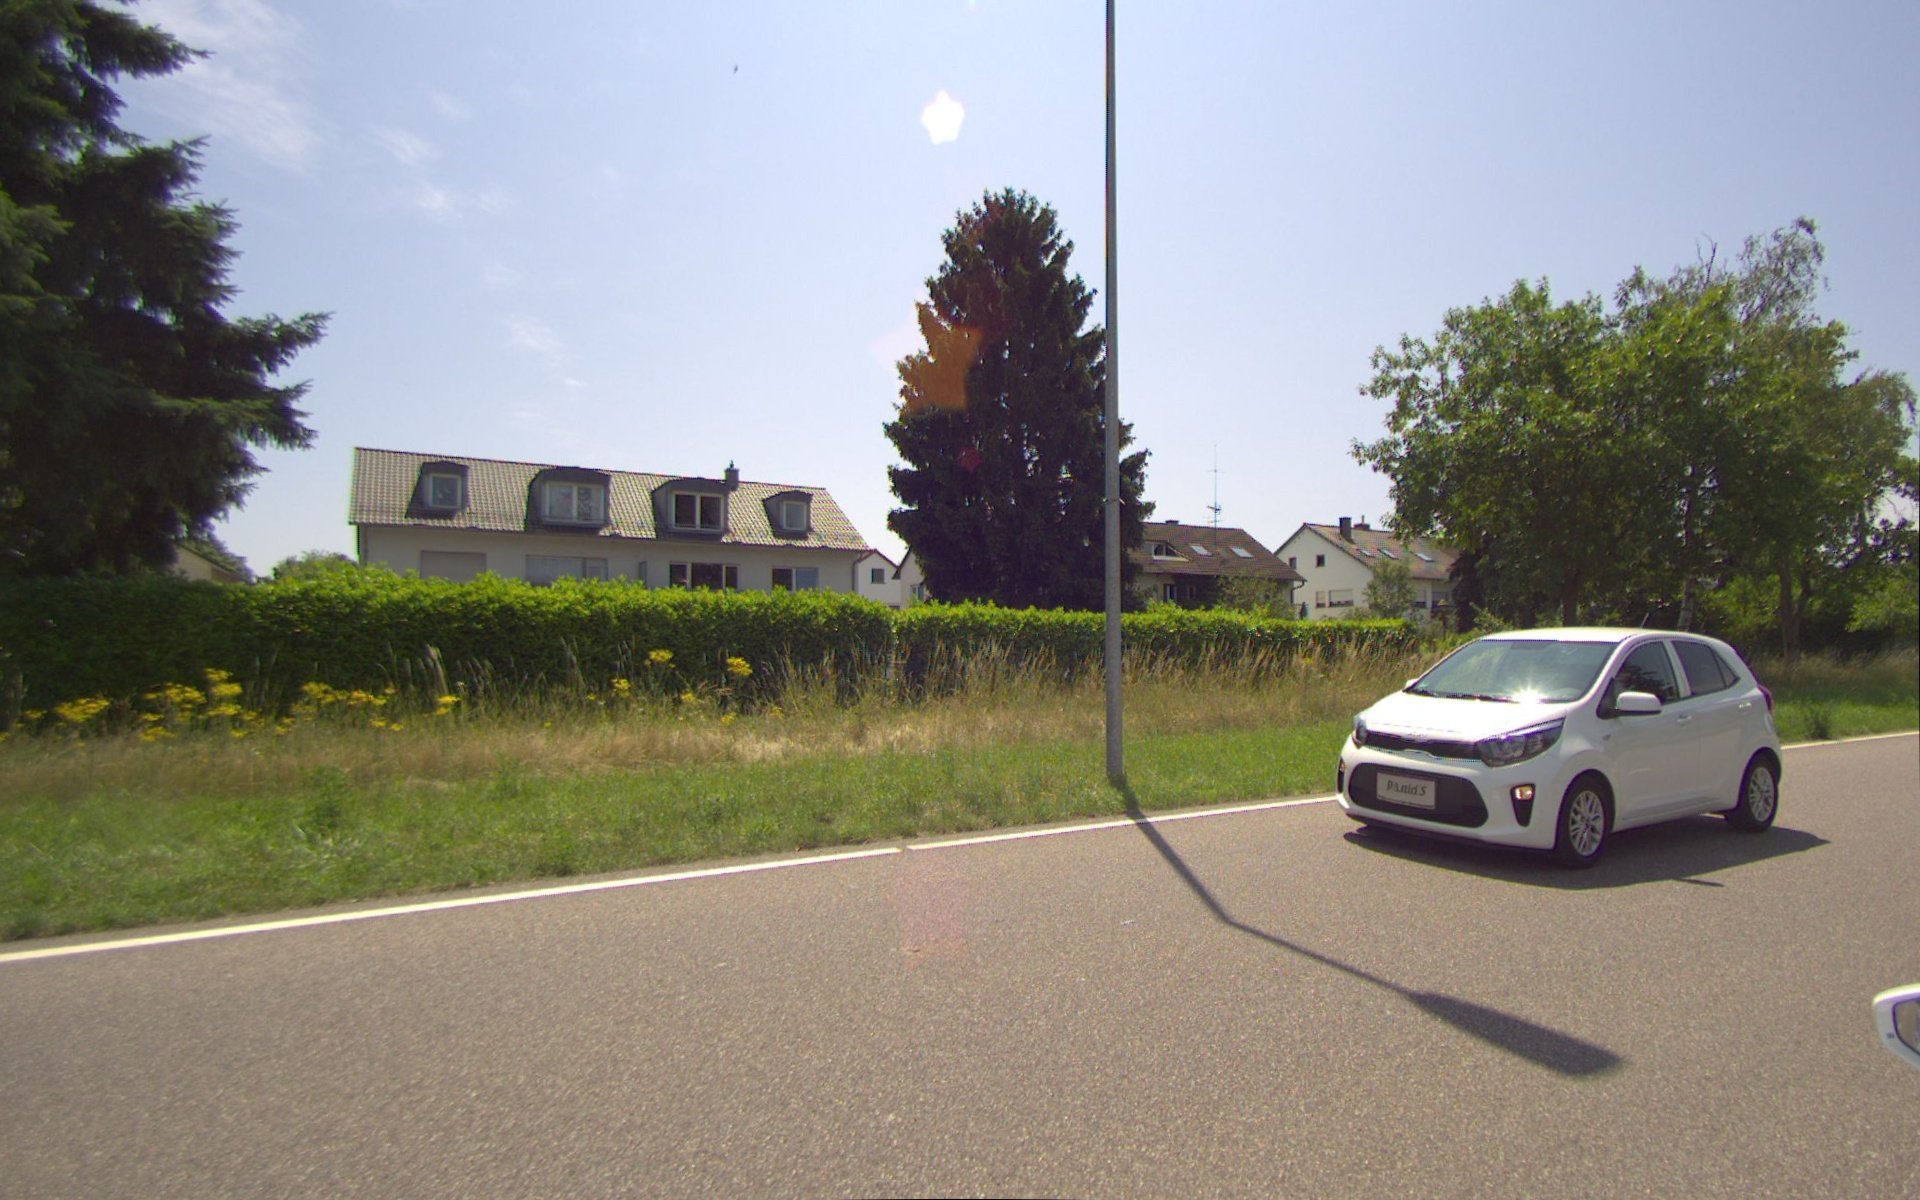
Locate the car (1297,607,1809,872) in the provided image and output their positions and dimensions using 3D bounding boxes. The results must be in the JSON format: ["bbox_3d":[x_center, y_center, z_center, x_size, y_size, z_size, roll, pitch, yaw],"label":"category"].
[{"bbox_3d":[4.463,0.870,7.490,3.664,1.523,1.739,2,-2,-30],"label":"car"}]
